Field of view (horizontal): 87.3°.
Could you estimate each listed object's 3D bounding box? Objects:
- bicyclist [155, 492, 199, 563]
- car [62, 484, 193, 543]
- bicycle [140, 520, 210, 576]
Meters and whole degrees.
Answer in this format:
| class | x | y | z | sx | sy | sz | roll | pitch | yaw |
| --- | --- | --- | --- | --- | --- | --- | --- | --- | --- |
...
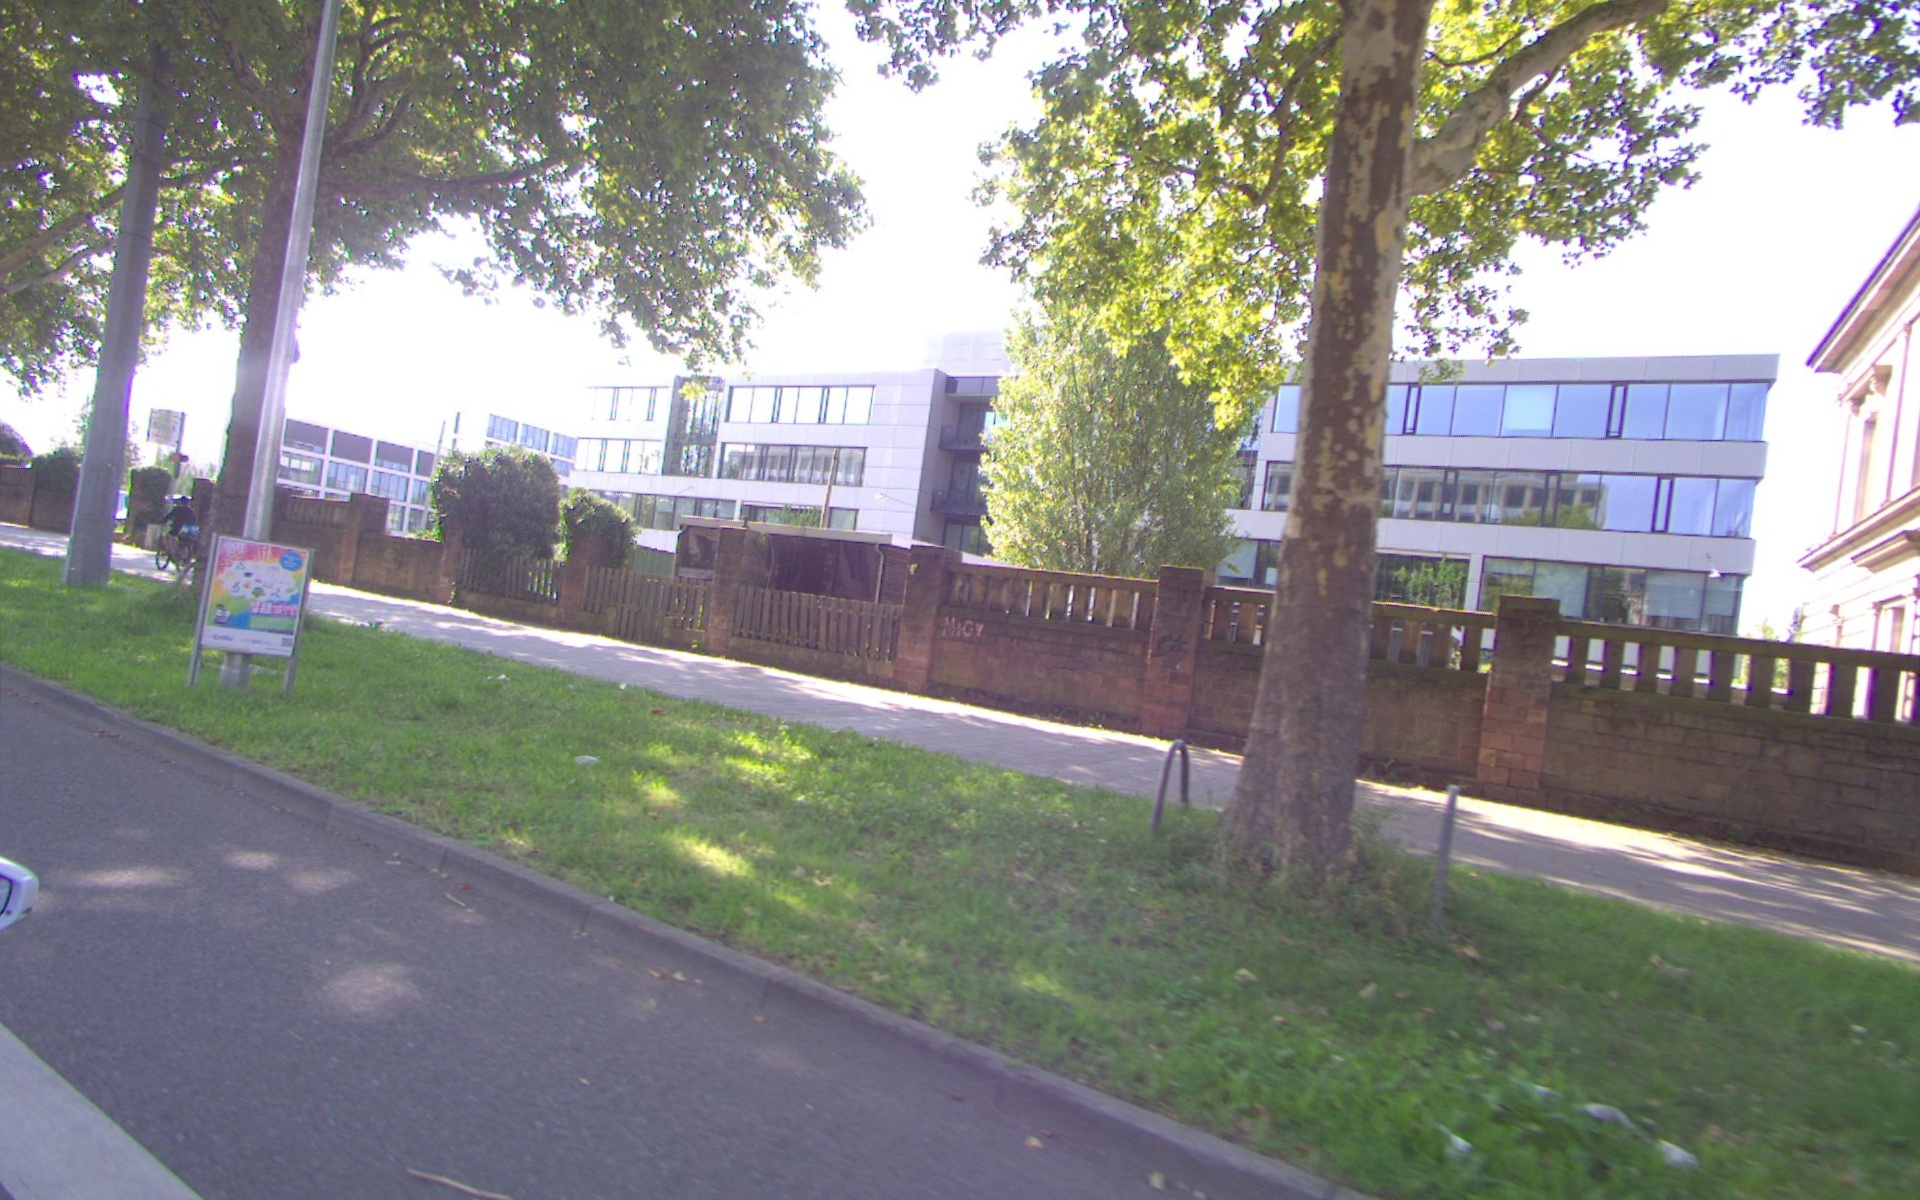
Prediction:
| class | x | y | z | sx | sy | sz | roll | pitch | yaw |
| --- | --- | --- | --- | --- | --- | --- | --- | --- | --- |
| bicyclist | -18.375 | -1.692 | 23.614 | 0.586 | 1.558 | 0.470 | 8 | 0 | 28 |
| car | -36.519 | -3.746 | 44.227 | 1.534 | 1.864 | 4.012 | 7 | -1 | 28 |
| bicycle | -18.432 | -1.229 | 23.618 | 1.825 | 1.102 | 0.492 | 8 | 0 | 28 |
